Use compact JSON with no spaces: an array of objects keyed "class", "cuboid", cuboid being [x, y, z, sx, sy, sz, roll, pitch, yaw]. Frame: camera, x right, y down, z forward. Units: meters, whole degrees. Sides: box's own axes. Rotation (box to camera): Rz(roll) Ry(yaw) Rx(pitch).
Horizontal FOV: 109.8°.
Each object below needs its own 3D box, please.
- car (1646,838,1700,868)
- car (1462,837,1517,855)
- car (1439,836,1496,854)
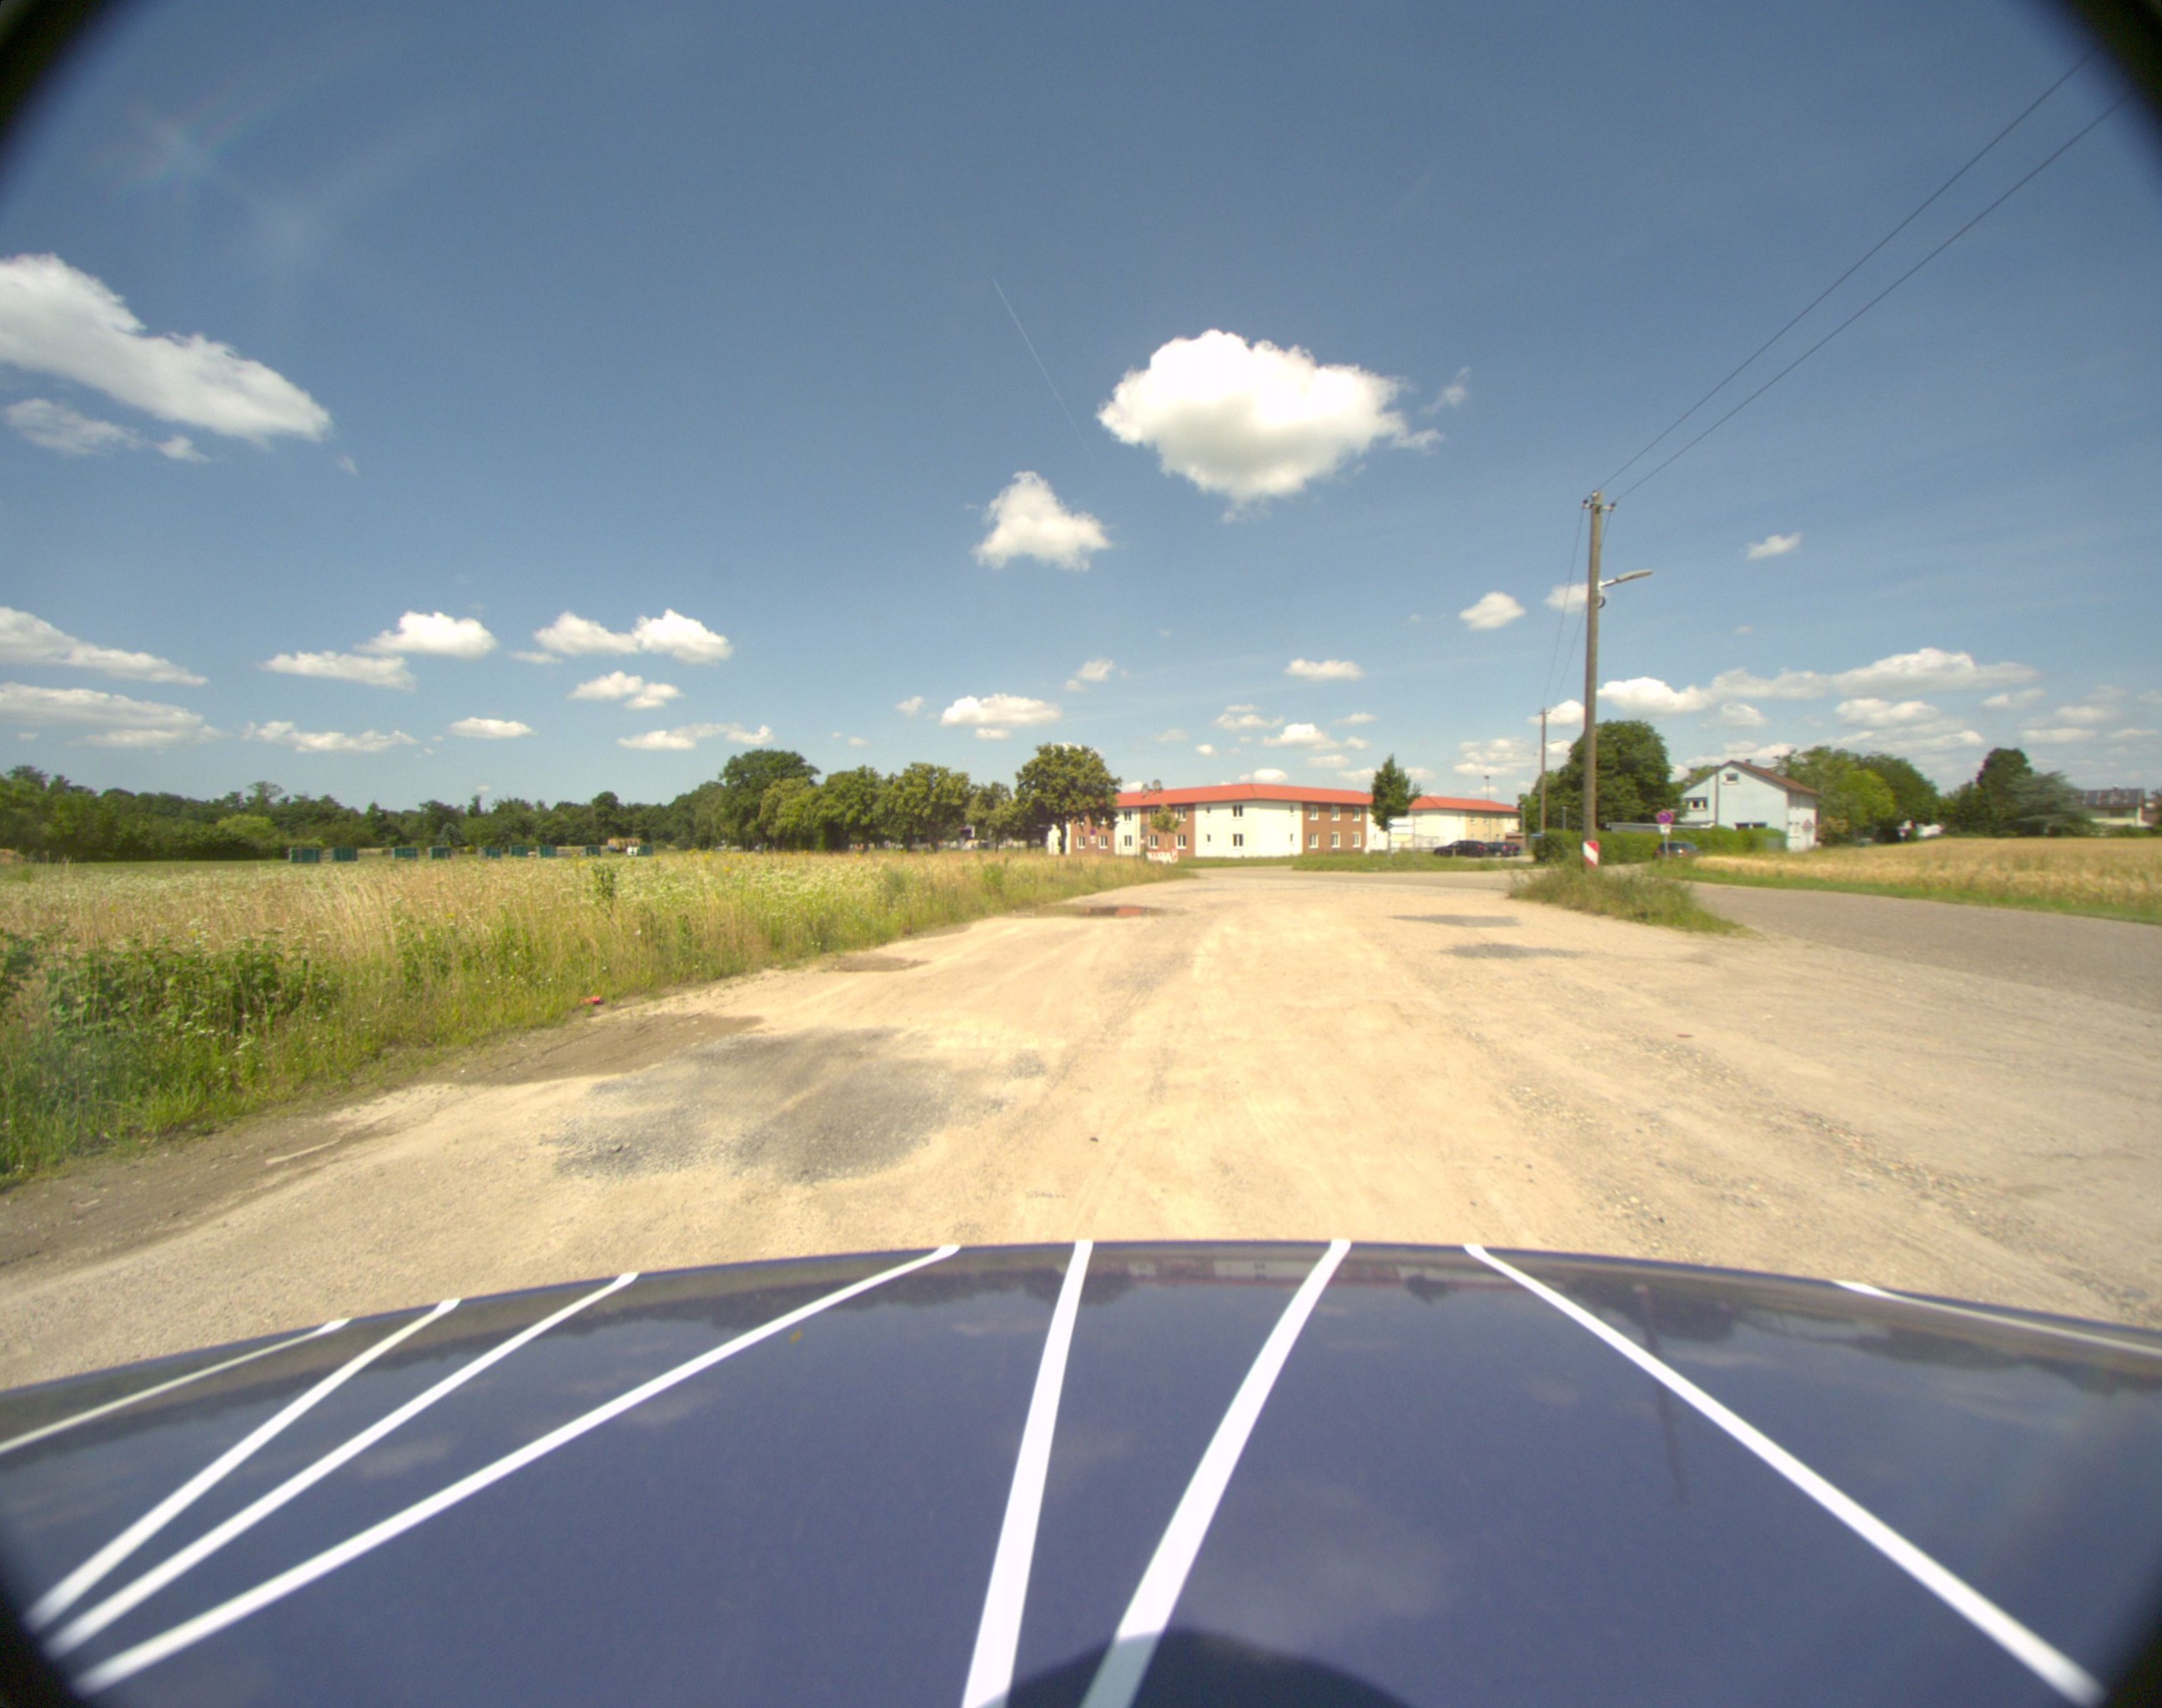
[{"class":"car","cuboid":[36.527,-0.065,46.851,4.263,1.669,1.744,-3,2,-40]},{"class":"car","cuboid":[38.379,-0.764,71.464,2.004,1.605,4.136,-1,2,-40]},{"class":"car","cuboid":[35.152,-0.828,69.176,2.004,1.605,4.136,-1,2,-40]}]
